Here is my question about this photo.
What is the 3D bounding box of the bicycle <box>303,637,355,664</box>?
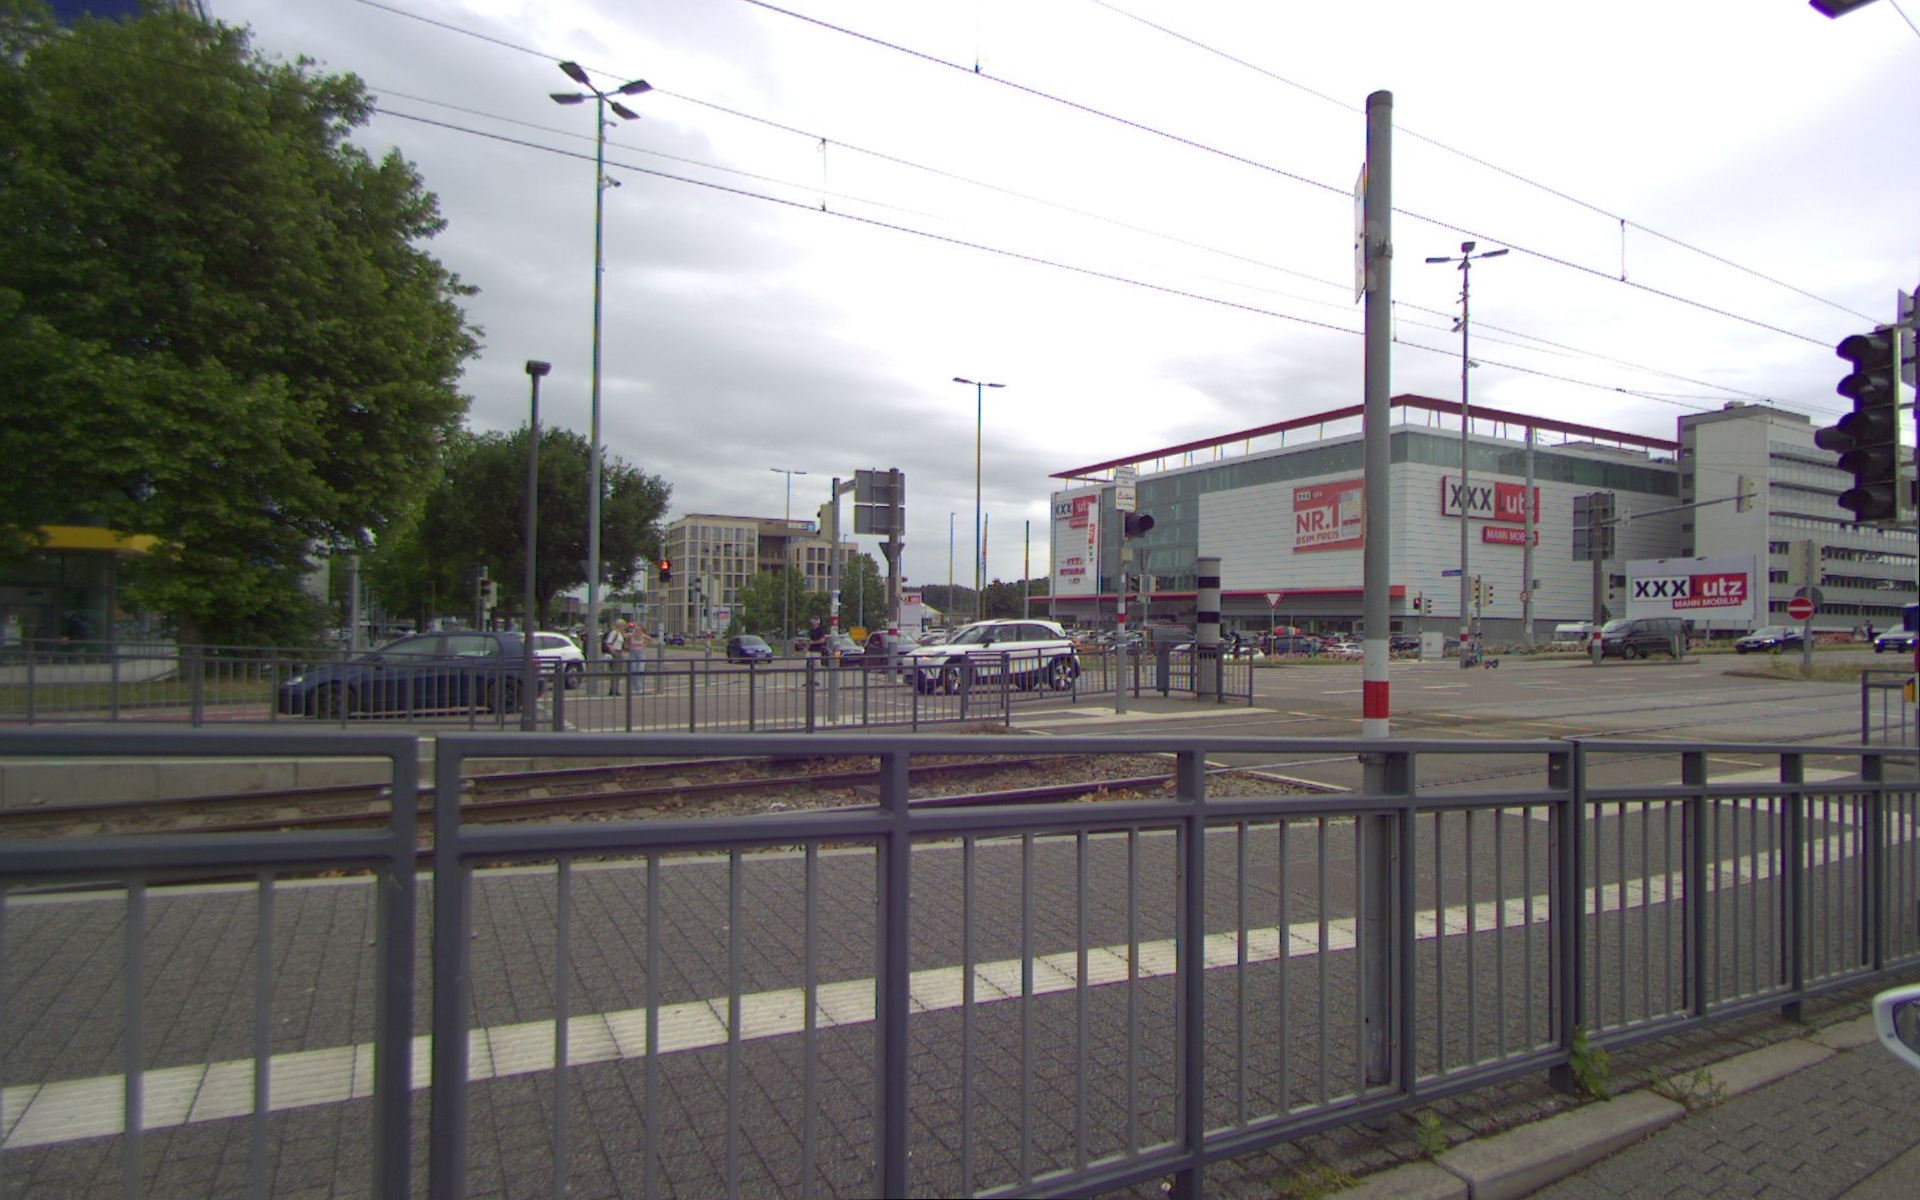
[{"bbox_3d":[-29.524,2.367,47.042,1.998,1.172,0.589,4,-3,-30],"label":"bicycle"}]

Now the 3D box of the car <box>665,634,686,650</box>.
[{"bbox_3d":[-36.103,5.301,127.418,1.974,2.040,3.973,0,-1,-27],"label":"car"}]

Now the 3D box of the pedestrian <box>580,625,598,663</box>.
[{"bbox_3d":[-16.295,1.951,44.111,0.628,1.663,0.803,2,-4,-30],"label":"pedestrian"}]

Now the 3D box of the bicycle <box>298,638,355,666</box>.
[{"bbox_3d":[-28.286,2.325,44.883,2.009,1.172,0.586,5,-4,-44],"label":"bicycle"}]

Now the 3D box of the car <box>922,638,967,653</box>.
[{"bbox_3d":[-1.596,4.734,104.416,4.331,1.480,1.948,2,-1,-26],"label":"car"}]

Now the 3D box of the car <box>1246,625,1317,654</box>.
[{"bbox_3d":[24.529,3.007,76.591,4.980,2.193,2.111,1,-2,-23],"label":"car"}]

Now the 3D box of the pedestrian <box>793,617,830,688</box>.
[{"bbox_3d":[-3.914,1.386,26.438,0.657,1.787,0.682,-2,-4,-31],"label":"pedestrian"}]

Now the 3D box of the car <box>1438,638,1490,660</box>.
[{"bbox_3d":[39.814,3.874,79.345,3.954,1.687,1.871,2,-2,-31],"label":"car"}]

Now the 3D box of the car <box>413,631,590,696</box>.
[{"bbox_3d":[-12.309,1.686,27.304,1.856,1.606,4.412,-1,-3,18],"label":"car"}]

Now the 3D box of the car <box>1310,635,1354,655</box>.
[{"bbox_3d":[36.026,4.362,97.335,3.946,1.842,1.810,1,-2,-26],"label":"car"}]

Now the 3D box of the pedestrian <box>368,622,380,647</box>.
[{"bbox_3d":[-42.167,2.459,72.245,0.671,1.769,0.802,2,-2,-28],"label":"pedestrian"}]

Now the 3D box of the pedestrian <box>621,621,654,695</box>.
[{"bbox_3d":[-7.719,1.388,24.046,0.666,1.734,0.762,1,-2,-23],"label":"pedestrian"}]

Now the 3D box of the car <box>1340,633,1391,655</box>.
[{"bbox_3d":[35.600,3.846,88.109,4.167,1.804,1.853,0,-1,-26],"label":"car"}]

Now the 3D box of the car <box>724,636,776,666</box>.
[{"bbox_3d":[-11.094,2.668,52.933,1.588,1.463,4.114,-1,-2,-28],"label":"car"}]

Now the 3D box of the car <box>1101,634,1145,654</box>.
[{"bbox_3d":[15.286,4.118,94.293,3.857,1.676,1.817,0,0,-30],"label":"car"}]

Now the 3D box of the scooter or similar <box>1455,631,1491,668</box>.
[{"bbox_3d":[17.731,1.718,34.743,1.001,1.272,0.463,0,-3,-15],"label":"scooter or similar"}]

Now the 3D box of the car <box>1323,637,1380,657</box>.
[{"bbox_3d":[29.885,3.601,76.715,4.155,1.495,1.734,1,-2,-26],"label":"car"}]

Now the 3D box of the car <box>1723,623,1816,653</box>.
[{"bbox_3d":[41.966,1.954,52.077,4.260,1.483,1.958,1,-1,-23],"label":"car"}]

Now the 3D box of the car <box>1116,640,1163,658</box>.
[{"bbox_3d":[16.422,4.438,91.882,3.947,1.572,1.852,2,-3,-26],"label":"car"}]

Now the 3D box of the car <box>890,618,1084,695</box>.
[{"bbox_3d":[0.623,1.264,22.929,4.089,1.606,1.786,0,-3,-27],"label":"car"}]

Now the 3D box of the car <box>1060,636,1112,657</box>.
[{"bbox_3d":[10.394,3.849,82.862,3.943,1.665,1.805,1,-2,-23],"label":"car"}]

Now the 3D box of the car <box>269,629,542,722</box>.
[{"bbox_3d":[-9.466,1.250,17.396,3.953,1.437,1.714,1,-3,-30],"label":"car"}]

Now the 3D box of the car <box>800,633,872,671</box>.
[{"bbox_3d":[-5.295,2.175,42.487,1.647,1.522,4.035,1,-2,-29],"label":"car"}]

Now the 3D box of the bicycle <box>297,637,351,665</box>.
[{"bbox_3d":[-29.136,2.342,46.068,1.998,1.172,0.589,4,-3,-30],"label":"bicycle"}]

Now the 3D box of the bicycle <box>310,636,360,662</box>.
[{"bbox_3d":[-30.711,2.407,49.364,1.998,1.172,0.589,4,-3,-30],"label":"bicycle"}]

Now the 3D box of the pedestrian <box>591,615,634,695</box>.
[{"bbox_3d":[-8.096,1.286,23.384,0.756,1.821,0.671,-3,-4,45],"label":"pedestrian"}]

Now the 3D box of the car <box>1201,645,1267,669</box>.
[{"bbox_3d":[18.273,3.820,66.979,4.070,1.465,1.861,2,0,-29],"label":"car"}]

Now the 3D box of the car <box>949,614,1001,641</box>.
[{"bbox_3d":[1.534,2.780,100.814,4.676,2.614,2.156,2,0,-26],"label":"car"}]

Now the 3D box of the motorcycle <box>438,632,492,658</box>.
[{"bbox_3d":[-27.516,2.509,55.857,2.481,1.373,0.791,5,-4,-40],"label":"motorcycle"}]

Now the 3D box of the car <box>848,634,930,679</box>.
[{"bbox_3d":[-2.676,2.047,37.286,1.627,1.435,3.682,2,0,-29],"label":"car"}]

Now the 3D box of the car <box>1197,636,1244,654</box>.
[{"bbox_3d":[23.376,4.032,90.134,3.948,1.576,1.842,2,-3,-27],"label":"car"}]

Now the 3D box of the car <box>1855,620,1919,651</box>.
[{"bbox_3d":[47.706,1.787,50.955,4.147,1.483,1.827,1,1,-23],"label":"car"}]

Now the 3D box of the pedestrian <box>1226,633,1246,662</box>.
[{"bbox_3d":[15.670,2.717,57.088,0.774,1.618,0.711,1,-4,-30],"label":"pedestrian"}]

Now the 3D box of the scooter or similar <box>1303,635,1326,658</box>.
[{"bbox_3d":[19.311,2.537,54.768,1.143,1.249,0.346,-1,-4,24],"label":"scooter or similar"}]

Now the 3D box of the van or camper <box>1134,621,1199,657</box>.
[{"bbox_3d":[17.849,3.356,86.831,5.315,3.023,1.983,1,-2,-20],"label":"van or camper"}]

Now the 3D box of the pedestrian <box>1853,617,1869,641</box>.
[{"bbox_3d":[64.093,2.067,71.471,0.553,1.711,0.679,2,0,-26],"label":"pedestrian"}]

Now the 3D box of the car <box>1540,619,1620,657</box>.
[{"bbox_3d":[53.778,3.309,87.119,6.861,3.029,2.750,2,0,-27],"label":"car"}]

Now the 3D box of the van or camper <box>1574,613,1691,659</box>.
[{"bbox_3d":[32.136,1.740,48.025,4.676,2.039,2.117,-1,-3,-17],"label":"van or camper"}]

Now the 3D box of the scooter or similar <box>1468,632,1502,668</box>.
[{"bbox_3d":[18.766,1.779,35.910,1.097,1.272,0.320,0,-2,-15],"label":"scooter or similar"}]

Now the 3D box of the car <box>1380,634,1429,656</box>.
[{"bbox_3d":[40.063,4.068,90.620,3.946,1.954,1.938,1,-2,-26],"label":"car"}]
